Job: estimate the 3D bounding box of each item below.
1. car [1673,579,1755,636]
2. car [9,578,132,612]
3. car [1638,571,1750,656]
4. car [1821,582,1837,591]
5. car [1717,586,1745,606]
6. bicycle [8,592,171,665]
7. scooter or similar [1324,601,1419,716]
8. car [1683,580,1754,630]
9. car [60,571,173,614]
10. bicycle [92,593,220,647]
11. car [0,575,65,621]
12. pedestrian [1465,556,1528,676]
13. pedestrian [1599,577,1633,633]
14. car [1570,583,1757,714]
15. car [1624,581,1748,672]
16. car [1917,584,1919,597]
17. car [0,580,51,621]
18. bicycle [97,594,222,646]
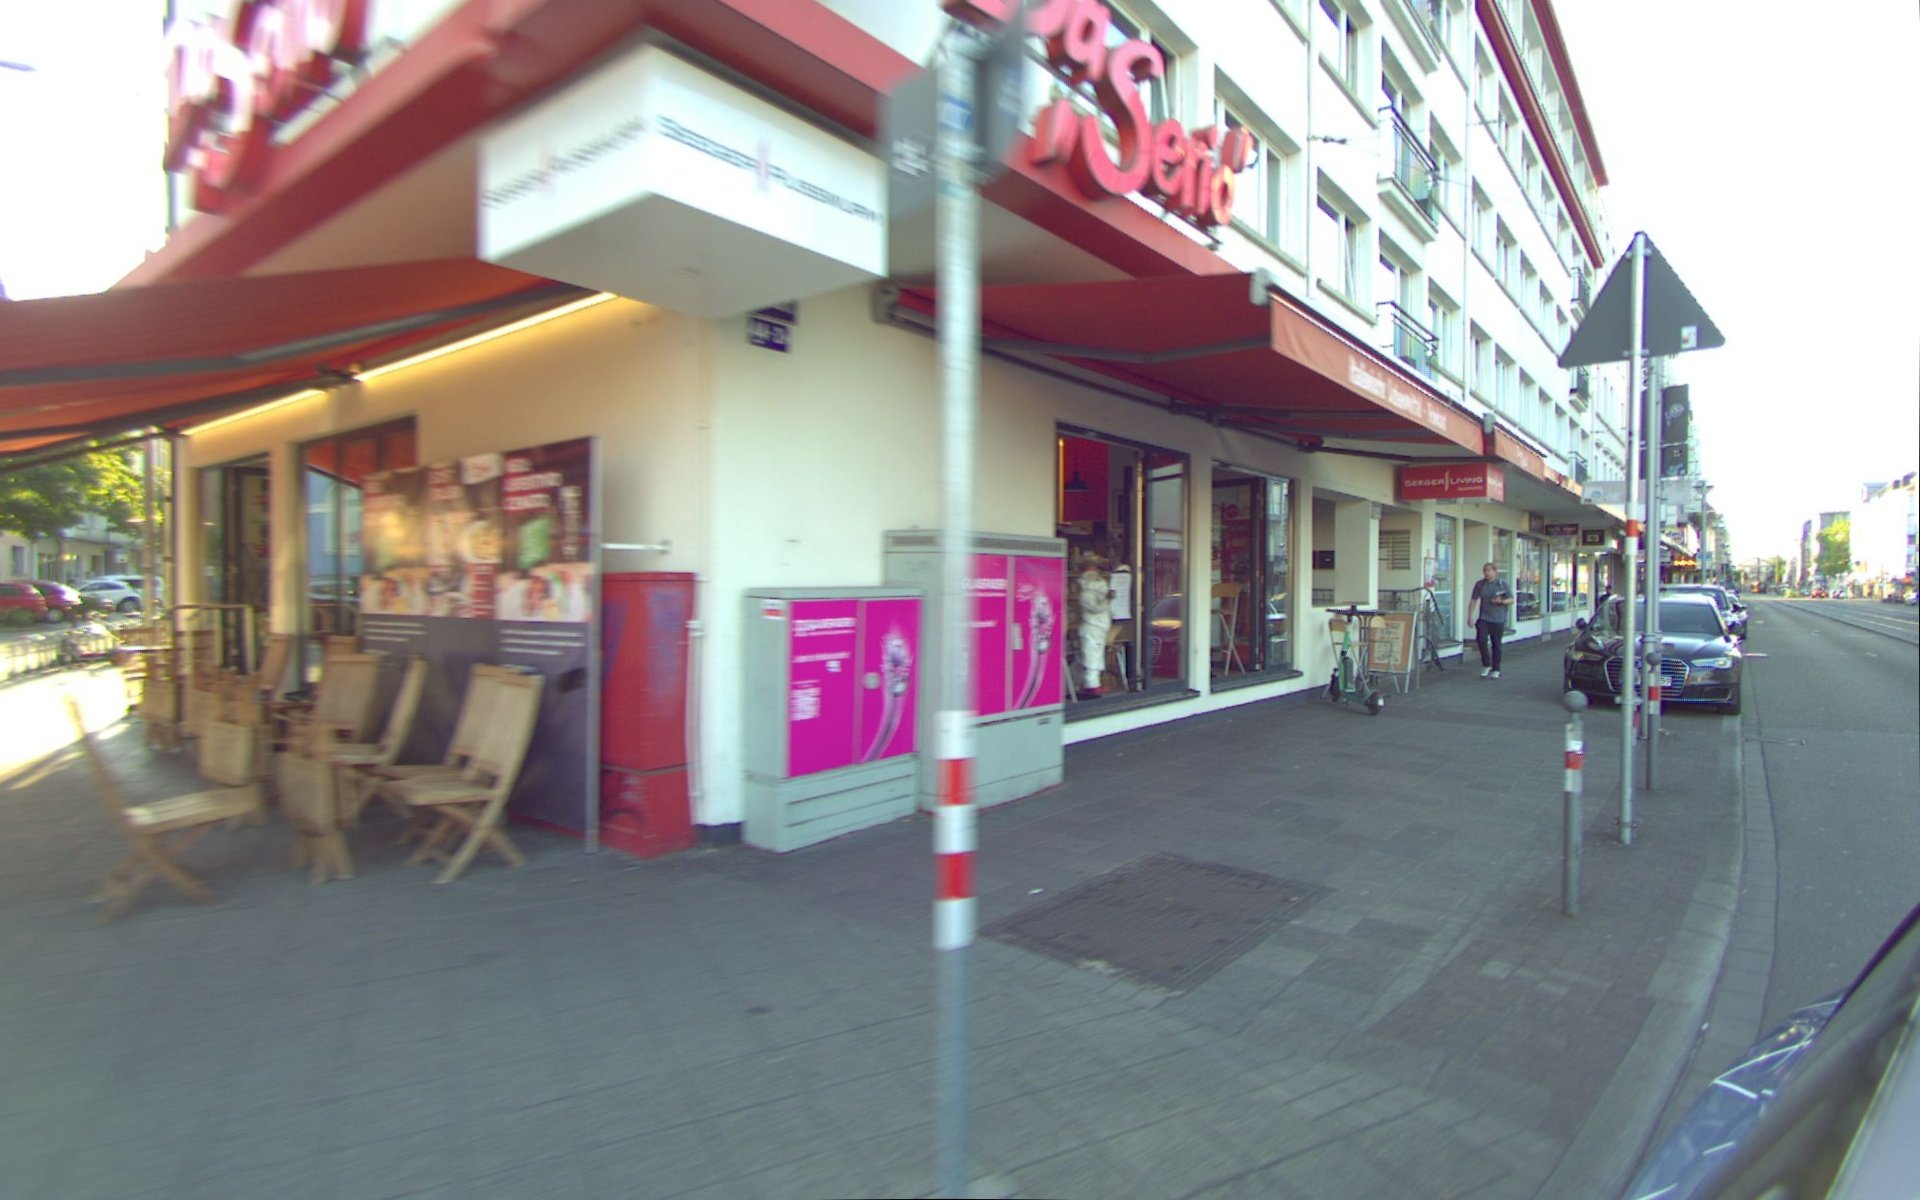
[{"bbox_3d":[22.033,0.188,29.525,1.777,1.541,4.296,-2,0,38],"label":"car"},{"bbox_3d":[-41.114,-0.254,46.851,1.986,1.527,3.952,1,1,34],"label":"car"},{"bbox_3d":[16.637,0.246,22.889,1.851,1.722,4.358,-2,0,38],"label":"car"},{"bbox_3d":[158.779,-2.458,184.963,1.989,1.582,3.947,-2,0,37],"label":"car"},{"bbox_3d":[61.804,-0.333,81.153,1.736,1.560,3.912,1,2,38],"label":"car"},{"bbox_3d":[-16.860,0.525,19.678,2.299,1.247,0.606,-3,2,-34],"label":"bicycle"},{"bbox_3d":[4.749,0.641,11.758,0.328,1.209,1.441,1,1,-8],"label":"scooter or similar"},{"bbox_3d":[25.605,0.129,34.187,1.787,1.552,4.792,-2,0,37],"label":"car"},{"bbox_3d":[-41.980,-0.390,50.437,1.853,2.001,3.952,-2,0,34],"label":"car"},{"bbox_3d":[-18.875,0.455,23.835,2.299,1.159,0.529,-2,0,-34],"label":"bicycle"},{"bbox_3d":[-34.783,-0.073,36.110,1.986,1.638,3.952,1,1,34],"label":"car"},{"bbox_3d":[8.835,0.241,16.668,0.772,1.903,0.922,1,1,37],"label":"pedestrian"},{"bbox_3d":[18.778,0.128,28.969,0.731,1.593,0.953,0,1,38],"label":"pedestrian"},{"bbox_3d":[9.690,0.535,13.827,1.786,1.430,4.624,-2,0,38],"label":"car"},{"bbox_3d":[13.384,0.416,18.572,1.648,1.438,4.134,-2,0,38],"label":"car"},{"bbox_3d":[104.002,-1.034,108.127,1.987,1.438,4.347,-1,0,36],"label":"car"},{"bbox_3d":[-33.089,0.046,33.437,1.977,1.362,4.121,-2,0,23],"label":"car"},{"bbox_3d":[-19.189,0.458,24.328,2.299,1.154,0.529,-2,0,-34],"label":"bicycle"}]
